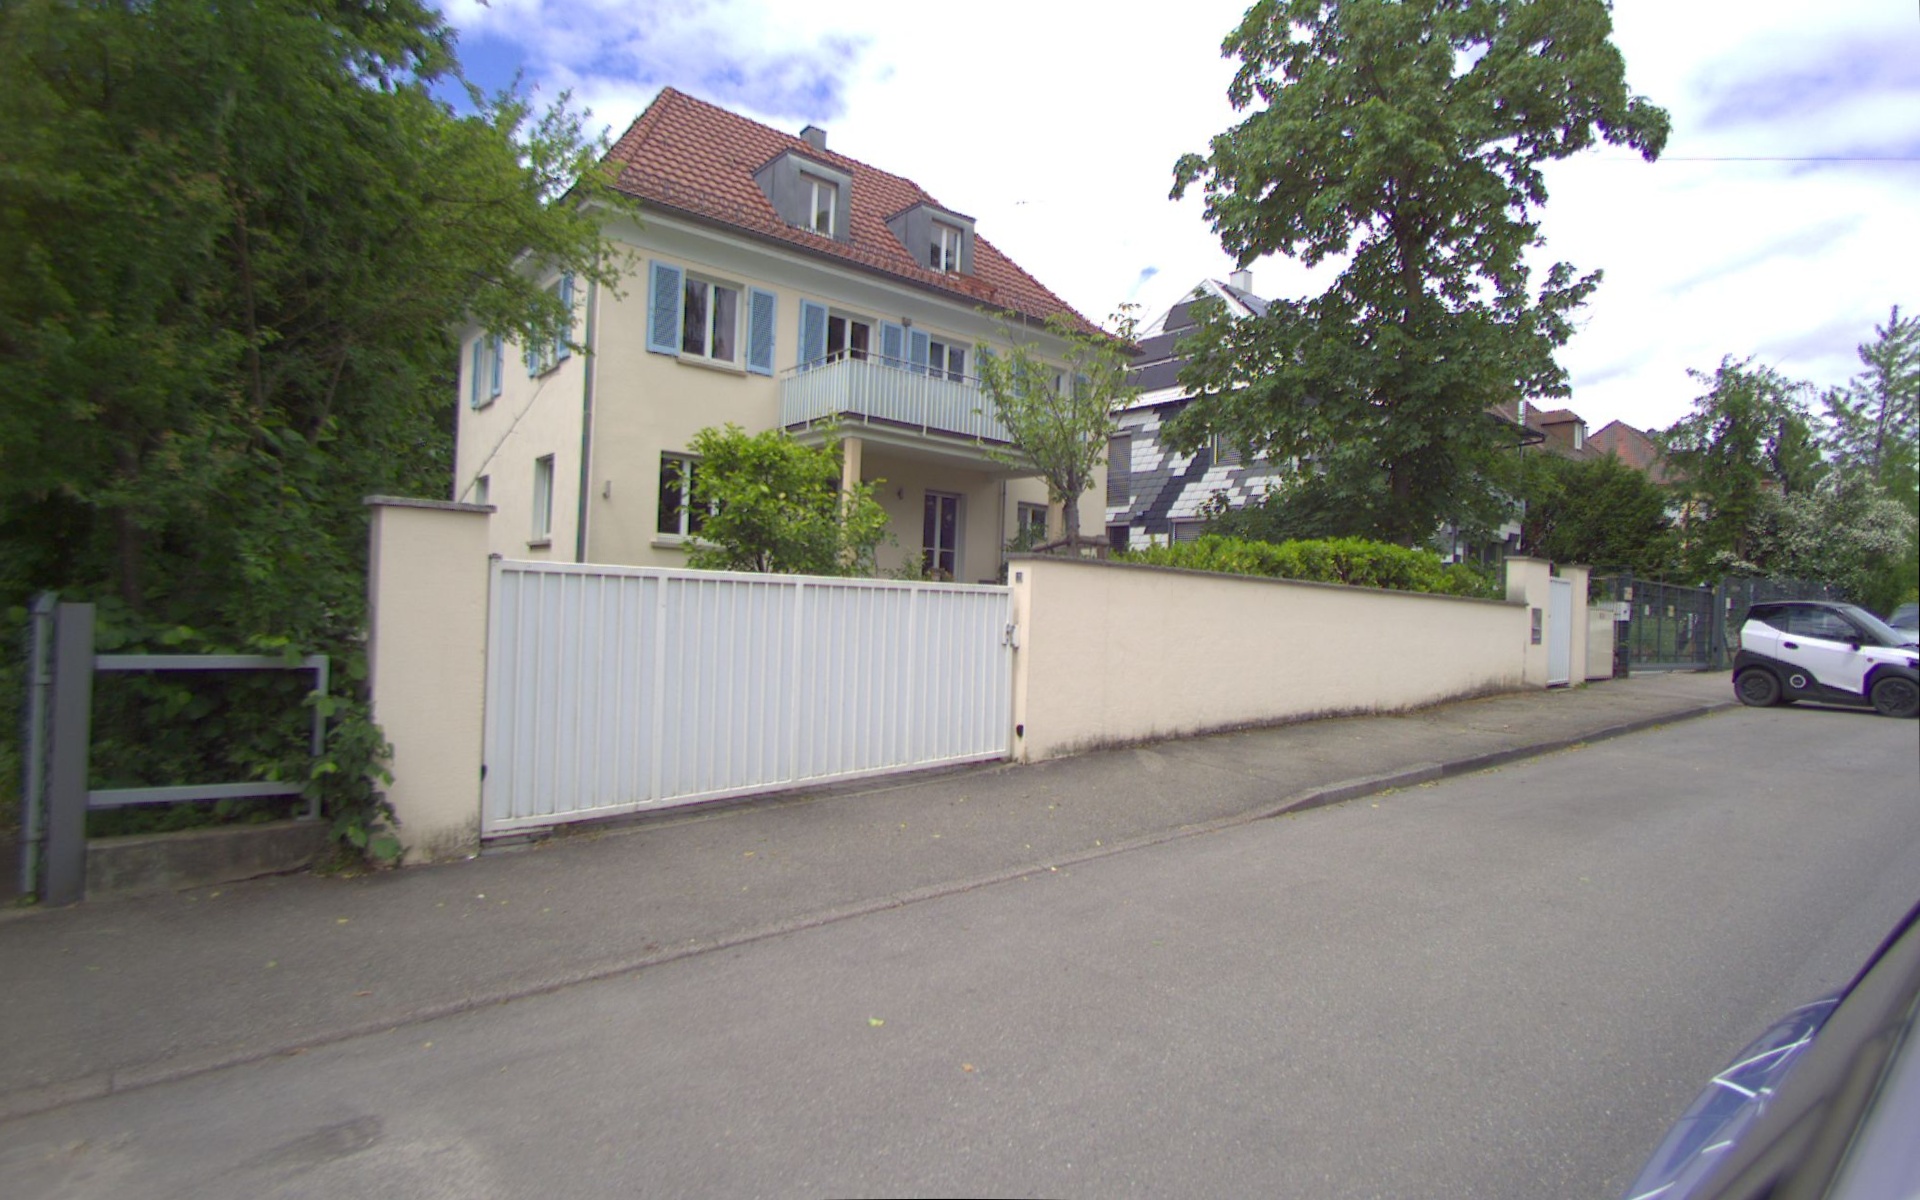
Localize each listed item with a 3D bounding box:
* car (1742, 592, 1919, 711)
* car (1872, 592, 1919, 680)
[{"bbox_3d":[12.815,0.687,14.470,1.292,1.543,2.295,1,0,-34],"label":"car"},{"bbox_3d":[19.746,0.671,20.052,4.411,1.644,1.833,0,0,-39],"label":"car"}]
